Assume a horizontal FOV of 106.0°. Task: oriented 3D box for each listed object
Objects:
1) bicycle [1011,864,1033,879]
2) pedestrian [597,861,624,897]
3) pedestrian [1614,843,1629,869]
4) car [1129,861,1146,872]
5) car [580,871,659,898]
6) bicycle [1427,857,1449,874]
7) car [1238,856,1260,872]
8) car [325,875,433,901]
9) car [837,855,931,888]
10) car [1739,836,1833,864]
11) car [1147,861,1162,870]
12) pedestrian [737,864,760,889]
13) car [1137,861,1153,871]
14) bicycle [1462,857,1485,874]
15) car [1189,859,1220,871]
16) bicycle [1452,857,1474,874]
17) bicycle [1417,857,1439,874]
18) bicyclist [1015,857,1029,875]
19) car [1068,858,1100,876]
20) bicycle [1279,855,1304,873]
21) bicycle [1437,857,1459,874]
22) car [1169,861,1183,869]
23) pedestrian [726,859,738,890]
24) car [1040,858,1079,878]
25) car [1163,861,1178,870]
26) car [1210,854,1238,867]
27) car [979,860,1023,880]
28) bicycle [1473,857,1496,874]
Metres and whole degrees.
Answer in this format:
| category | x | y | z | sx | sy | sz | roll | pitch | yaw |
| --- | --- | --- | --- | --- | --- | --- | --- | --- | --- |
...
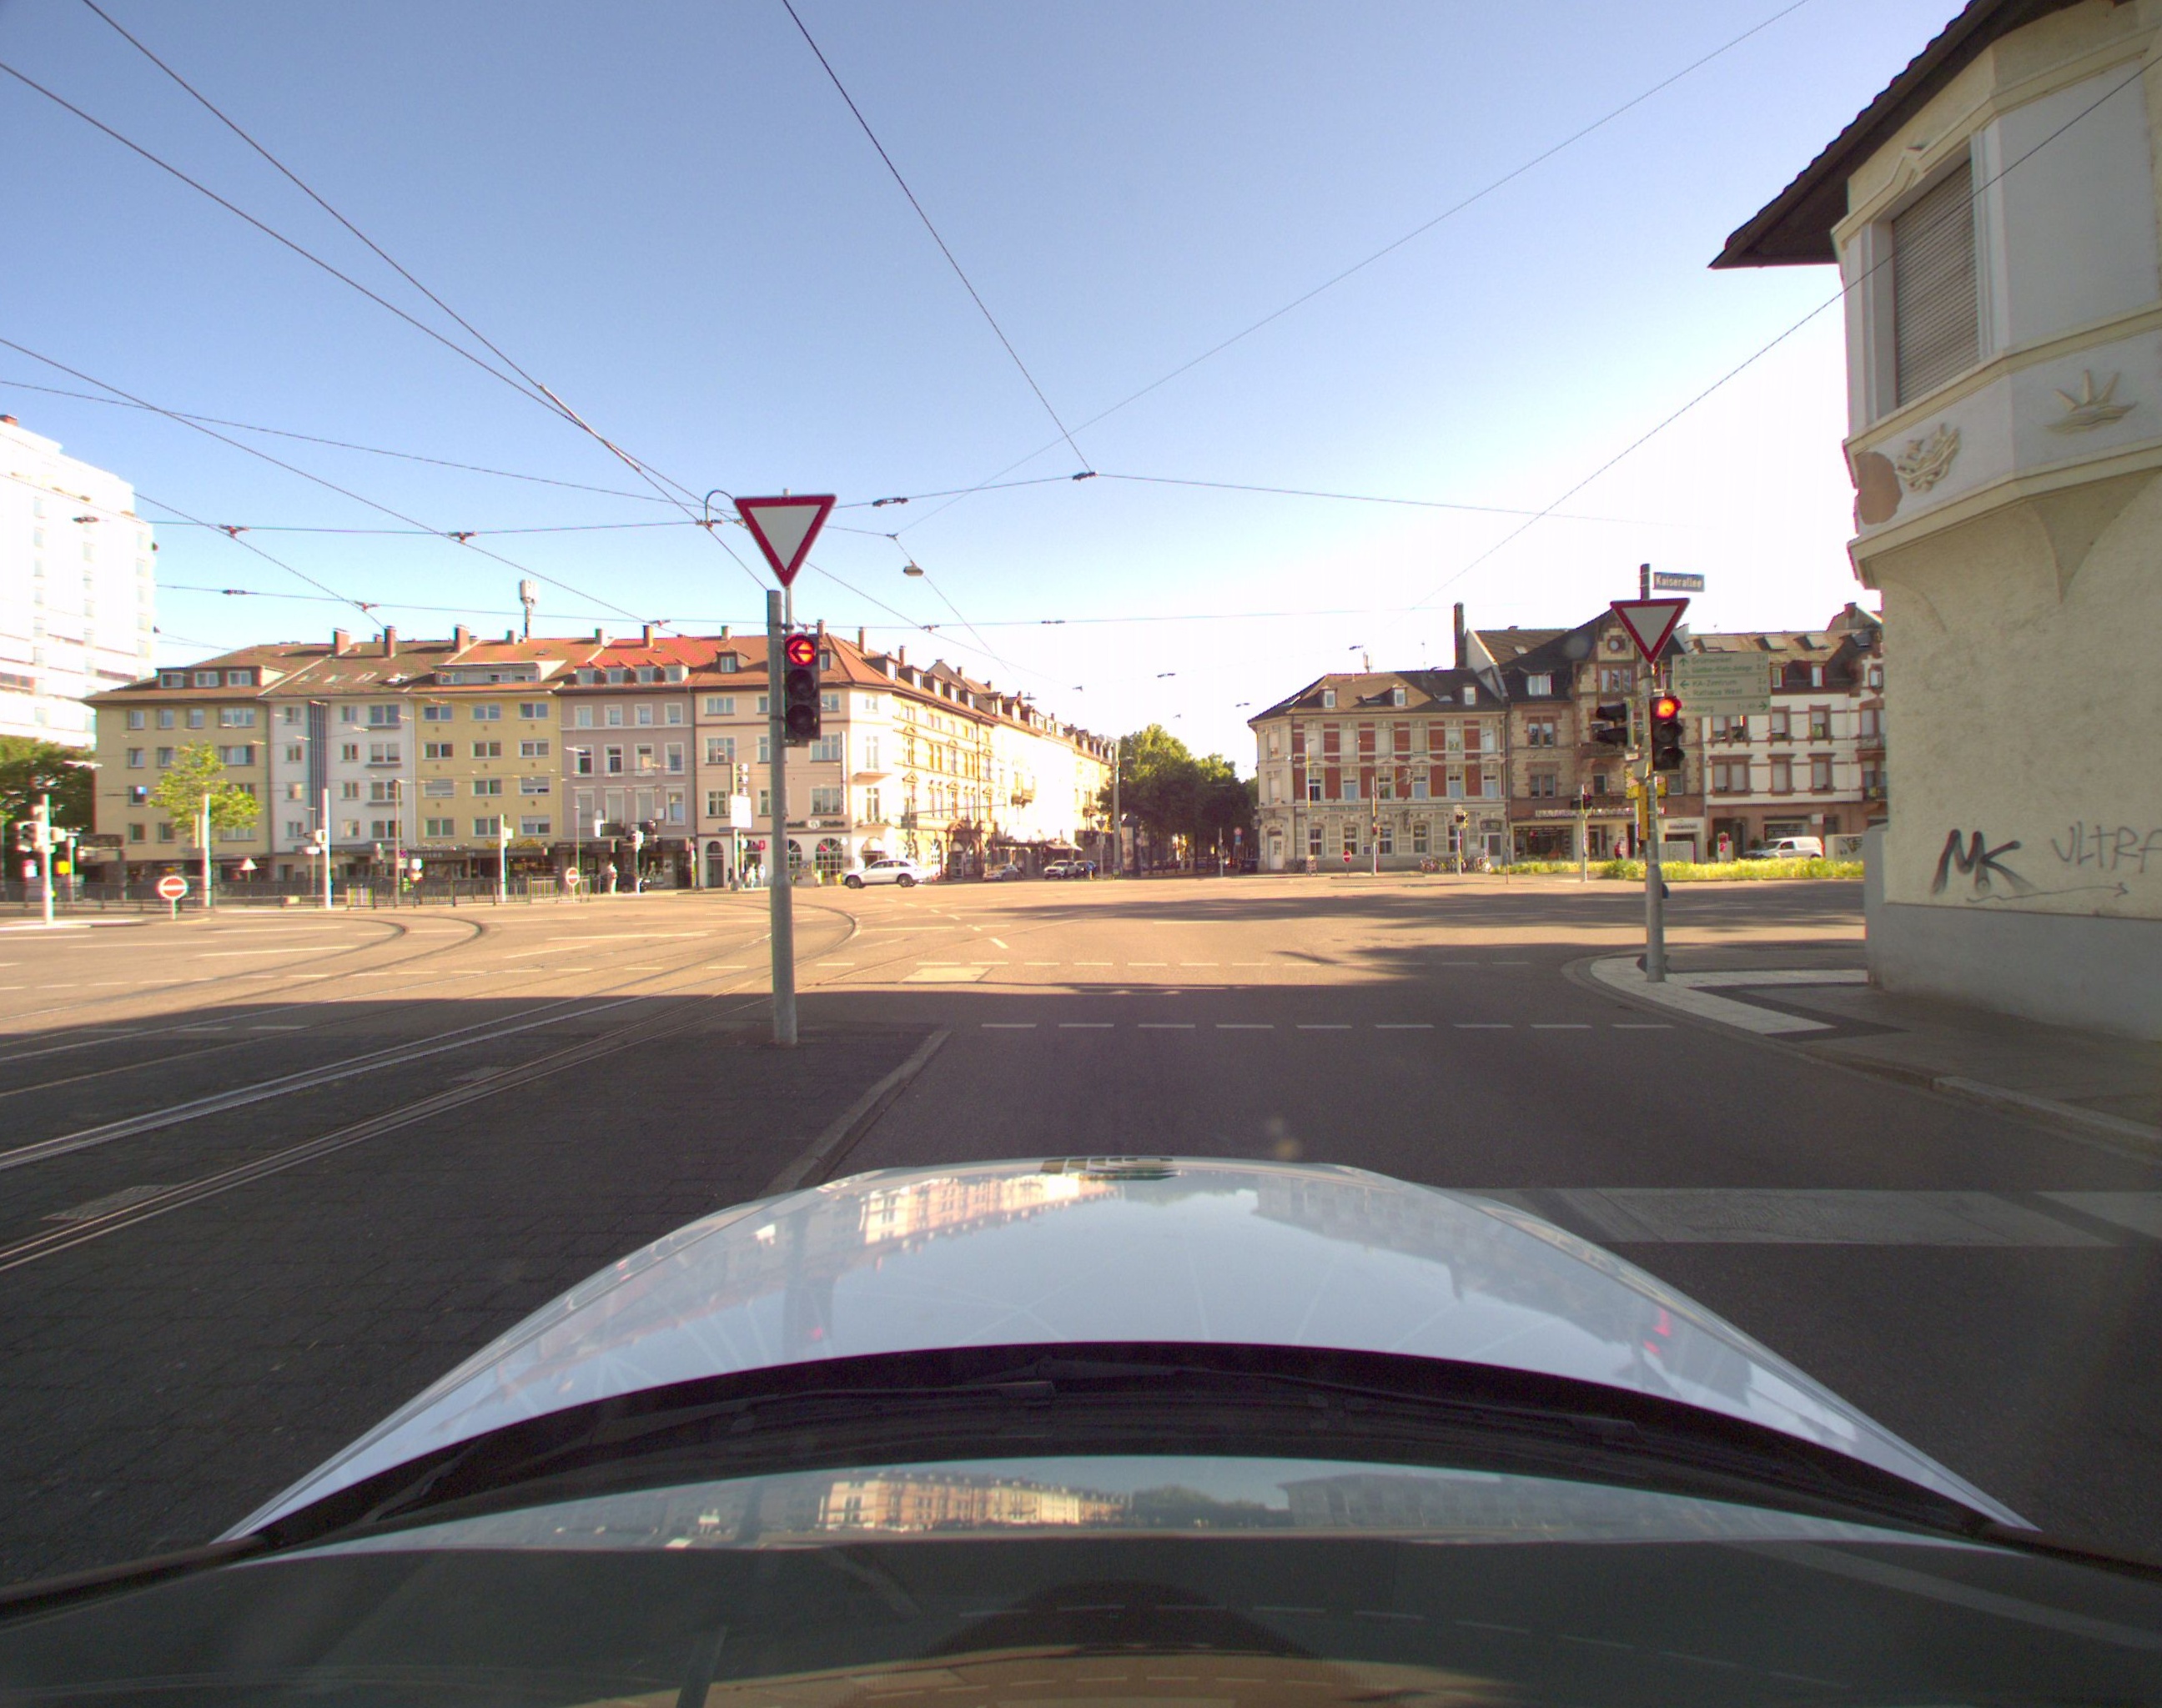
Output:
| category | x | y | z | sx | sy | sz | roll | pitch | yaw |
| --- | --- | --- | --- | --- | --- | --- | --- | --- | --- |
| bicycle | -4.763 | 1.429 | 65.899 | 0.745 | 1.135 | 2.821 | -1 | 0 | 16 |
| pedestrian | -24.564 | 1.307 | 42.555 | 0.871 | 1.818 | 0.811 | -1 | 0 | 2 |
| pedestrian | 36.841 | 0.121 | 55.471 | 0.705 | 1.751 | 0.421 | -1 | 0 | 3 |
| car | 7.608 | 1.650 | 110.002 | 1.729 | 1.397 | 4.137 | 1 | 0 | 12 |
| car | -30.269 | 1.988 | 53.531 | 3.978 | 1.464 | 1.998 | -2 | 0 | -4 |
| bicycle | 23.155 | 0.736 | 52.869 | 0.603 | 1.051 | 1.641 | -1 | 0 | -3 |
| car | 16.911 | 0.992 | 82.051 | 1.637 | 1.524 | 3.772 | -2 | -1 | 20 |
| car | -41.060 | 1.989 | 47.695 | 4.496 | 1.341 | 2.000 | -1 | 0 | 0 |
| car | -11.075 | 0.968 | 46.038 | 4.835 | 1.660 | 1.998 | -1 | 0 | -2 |
| car | 45.390 | -0.229 | 52.472 | 4.356 | 1.654 | 1.999 | -1 | 0 | -2 |
| car | 11.068 | 1.728 | 122.708 | 1.729 | 1.397 | 4.137 | 1 | 0 | 12 |
| pedestrian | -22.441 | 1.516 | 54.994 | 1.060 | 1.591 | 1.043 | -1 | 0 | 4 |
| car | 9.181 | 1.686 | 115.772 | 1.729 | 1.397 | 4.137 | 1 | 0 | 12 |
| bicycle | 25.320 | 0.718 | 52.619 | 0.603 | 1.051 | 1.641 | -1 | 0 | -3 |
| car | 17.491 | 1.526 | 114.992 | 4.078 | 1.646 | 1.754 | 1 | 0 | 17 |
| bicycle | 24.645 | 0.722 | 52.569 | 0.603 | 1.051 | 1.641 | -1 | 0 | -3 |
| bicycle | 22.502 | 0.740 | 52.839 | 0.603 | 1.051 | 1.641 | -1 | 0 | -3 |
| bicyclist | -4.761 | 0.985 | 65.870 | 0.787 | 1.375 | 1.113 | -1 | 0 | 16 |
| car | 0.296 | 1.150 | 73.692 | 1.979 | 1.513 | 4.015 | -1 | 0 | 14 |
| bicycle | 14.702 | 0.691 | 56.939 | 1.625 | 1.222 | 0.609 | -1 | 0 | 18 |
| bicycle | 23.819 | 0.731 | 52.869 | 0.603 | 1.051 | 1.641 | -1 | 0 | -3 |
| car | 15.869 | 1.835 | 136.203 | 1.728 | 1.397 | 4.141 | 1 | 0 | 16 |
| pedestrian | -22.772 | 1.354 | 53.121 | 0.506 | 2.013 | 0.505 | -1 | 0 | 5 |
| car | -1.725 | 1.161 | 67.368 | 2.080 | 1.499 | 4.017 | -1 | 0 | 16 |
| car | 14.446 | 1.811 | 131.456 | 1.728 | 1.397 | 4.141 | 1 | 0 | 16 |
| car | 23.377 | 1.088 | 133.072 | 4.074 | 1.919 | 1.756 | 1 | 0 | 23 |
| car | -6.592 | 1.302 | 67.698 | 2.080 | 1.545 | 4.382 | -1 | 0 | 16 |
| bicycle | 26.059 | 0.713 | 52.611 | 0.603 | 1.051 | 1.641 | -1 | 0 | -3 |
